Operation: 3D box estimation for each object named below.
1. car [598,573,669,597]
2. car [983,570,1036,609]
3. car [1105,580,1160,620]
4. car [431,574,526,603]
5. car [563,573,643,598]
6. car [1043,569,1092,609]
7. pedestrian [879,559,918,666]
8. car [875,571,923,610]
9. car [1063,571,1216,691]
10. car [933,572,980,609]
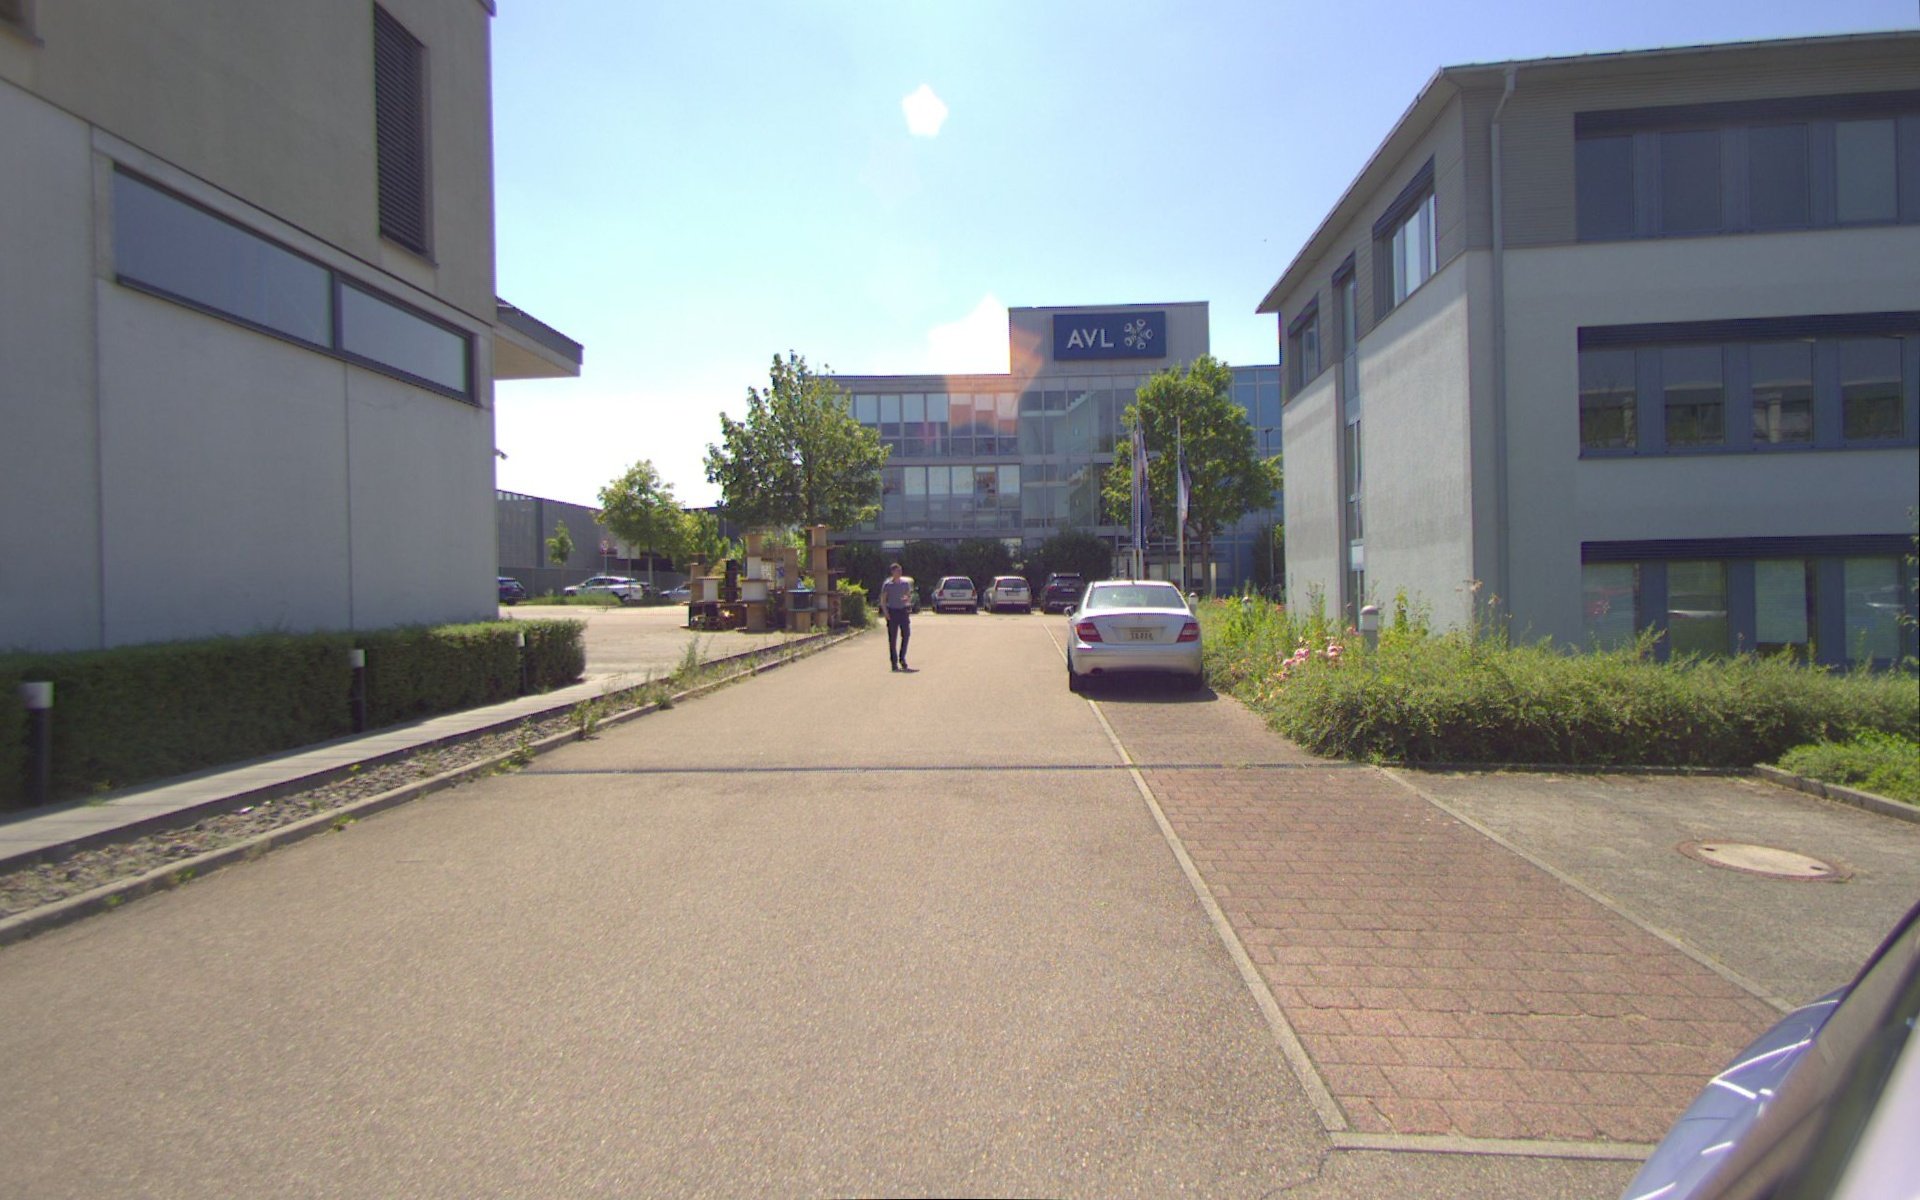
[{"bbox_3d":[-20.584,-0.915,63.751,4.009,1.433,1.740,0,-1,16],"label":"car"},{"bbox_3d":[2.005,-0.443,42.233,1.715,1.538,4.003,0,0,-4],"label":"car"},{"bbox_3d":[7.010,-0.019,41.413,1.717,1.538,3.997,0,0,3],"label":"car"},{"bbox_3d":[-24.361,-0.557,51.200,4.388,1.433,1.740,0,-1,18],"label":"car"},{"bbox_3d":[-21.373,-0.850,60.612,4.386,1.433,1.740,0,-1,16],"label":"car"},{"bbox_3d":[4.378,-0.441,41.655,1.717,1.538,3.997,0,0,3],"label":"car"},{"bbox_3d":[-1.054,0.207,17.260,0.606,1.779,0.789,0,0,-6],"label":"pedestrian"},{"bbox_3d":[-2.477,-0.402,41.735,1.716,1.538,4.000,0,0,0],"label":"car"},{"bbox_3d":[2.365,0.357,14.149,1.698,1.454,3.713,0,0,4],"label":"car"},{"bbox_3d":[-0.189,-0.386,41.739,1.641,1.459,4.003,0,0,-4],"label":"car"}]
